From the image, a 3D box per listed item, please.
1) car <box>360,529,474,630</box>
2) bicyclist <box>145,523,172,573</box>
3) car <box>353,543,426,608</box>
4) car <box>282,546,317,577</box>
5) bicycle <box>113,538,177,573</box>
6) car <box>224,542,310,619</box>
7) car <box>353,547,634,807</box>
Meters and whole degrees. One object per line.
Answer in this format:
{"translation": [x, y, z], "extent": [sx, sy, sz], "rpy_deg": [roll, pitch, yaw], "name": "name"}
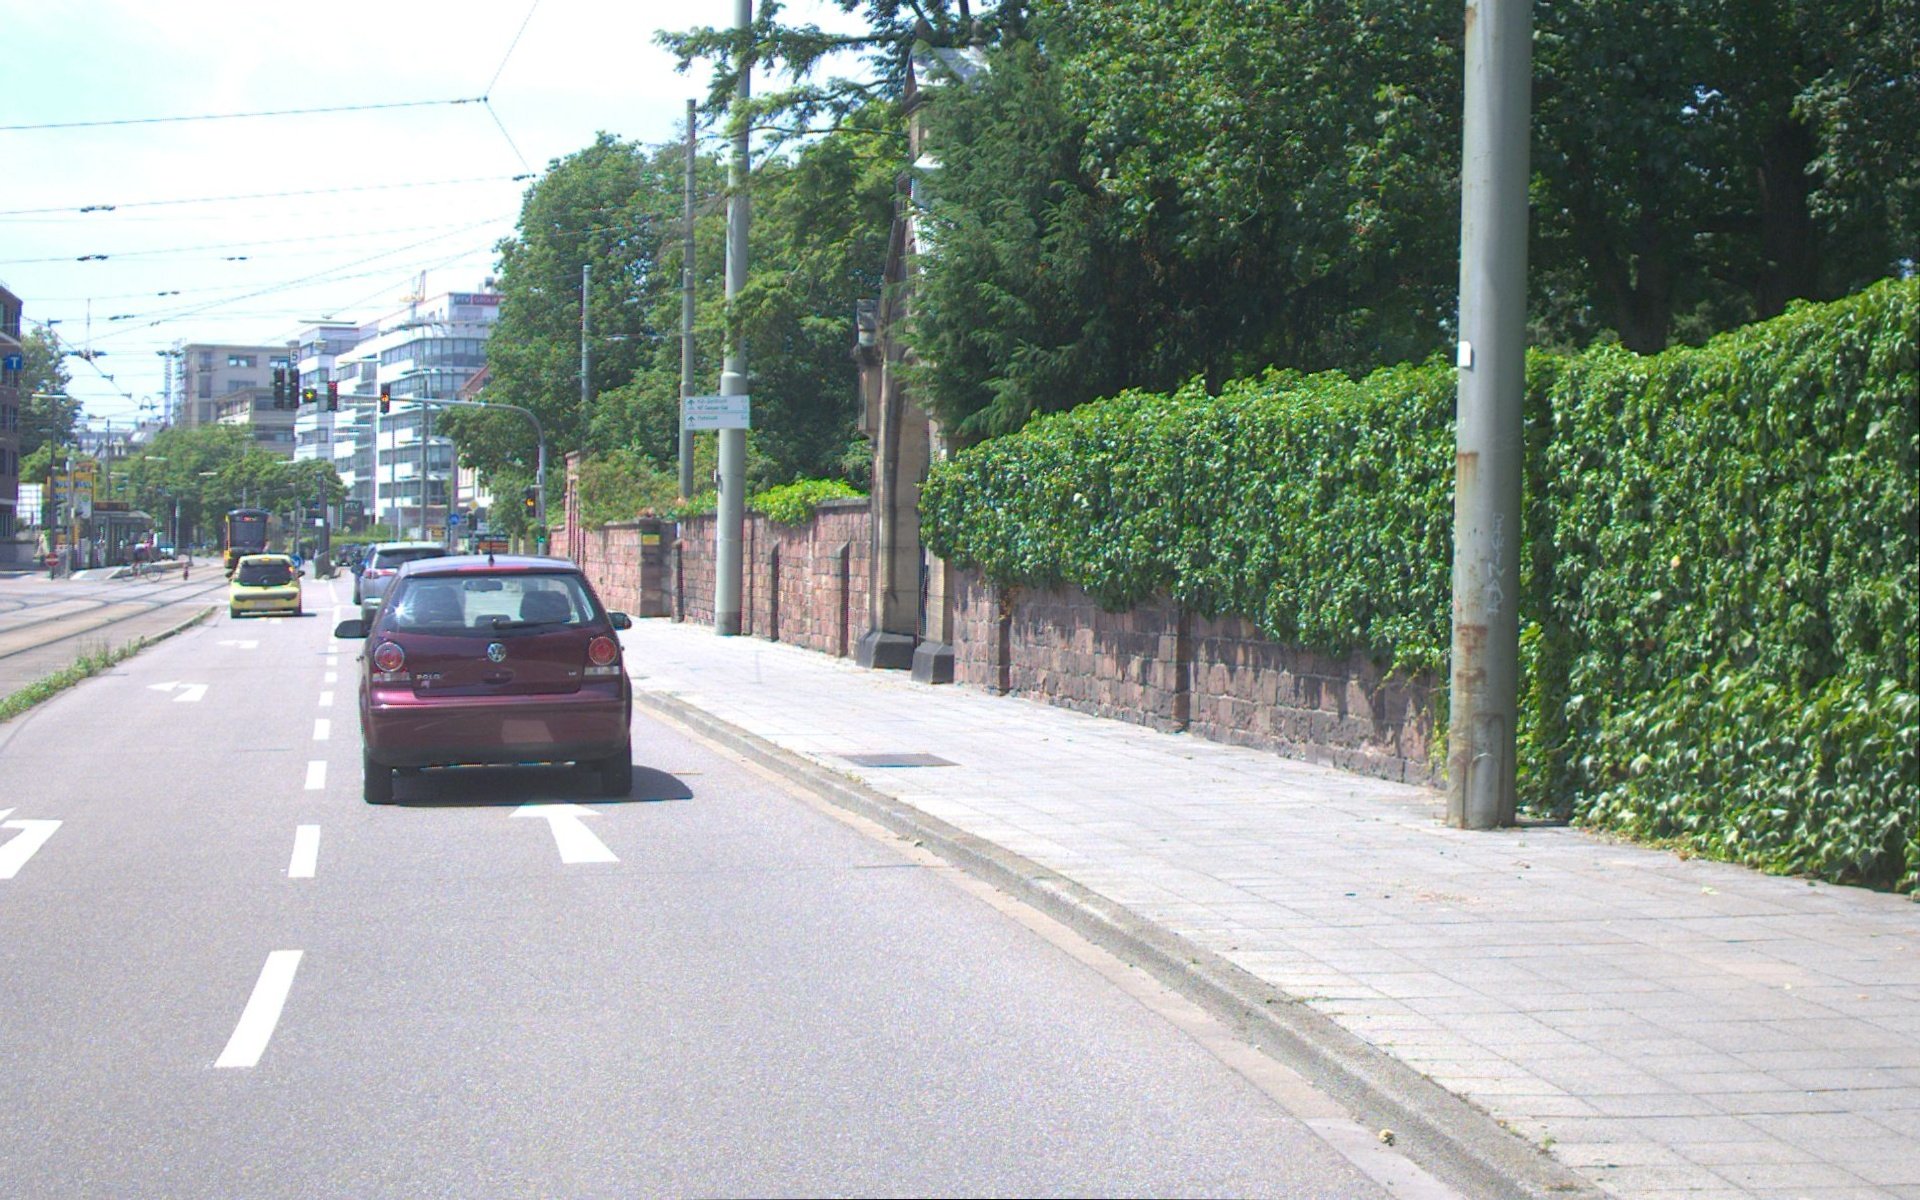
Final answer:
{"translation": [-9.671, -0.391, 61.466], "extent": [1.795, 1.677, 4.001], "rpy_deg": [2, 1, -7], "name": "car"}
{"translation": [-33.269, -2.160, 142.769], "extent": [0.956, 2.084, 0.853], "rpy_deg": [0, 1, -22], "name": "bicyclist"}
{"translation": [-15.167, -0.662, 91.546], "extent": [1.773, 1.625, 4.001], "rpy_deg": [2, 1, -8], "name": "car"}
{"translation": [-28.109, -1.652, 146.314], "extent": [1.353, 1.248, 2.973], "rpy_deg": [2, 1, -10], "name": "car"}
{"translation": [-33.795, -1.845, 142.512], "extent": [2.509, 1.414, 0.637], "rpy_deg": [0, 1, -23], "name": "bicycle"}
{"translation": [-16.248, -0.475, 80.768], "extent": [1.795, 1.677, 4.001], "rpy_deg": [2, 1, -10], "name": "car"}
{"translation": [-3.017, 0.416, 21.840], "extent": [1.609, 1.493, 4.001], "rpy_deg": [0, 1, -9], "name": "car"}
